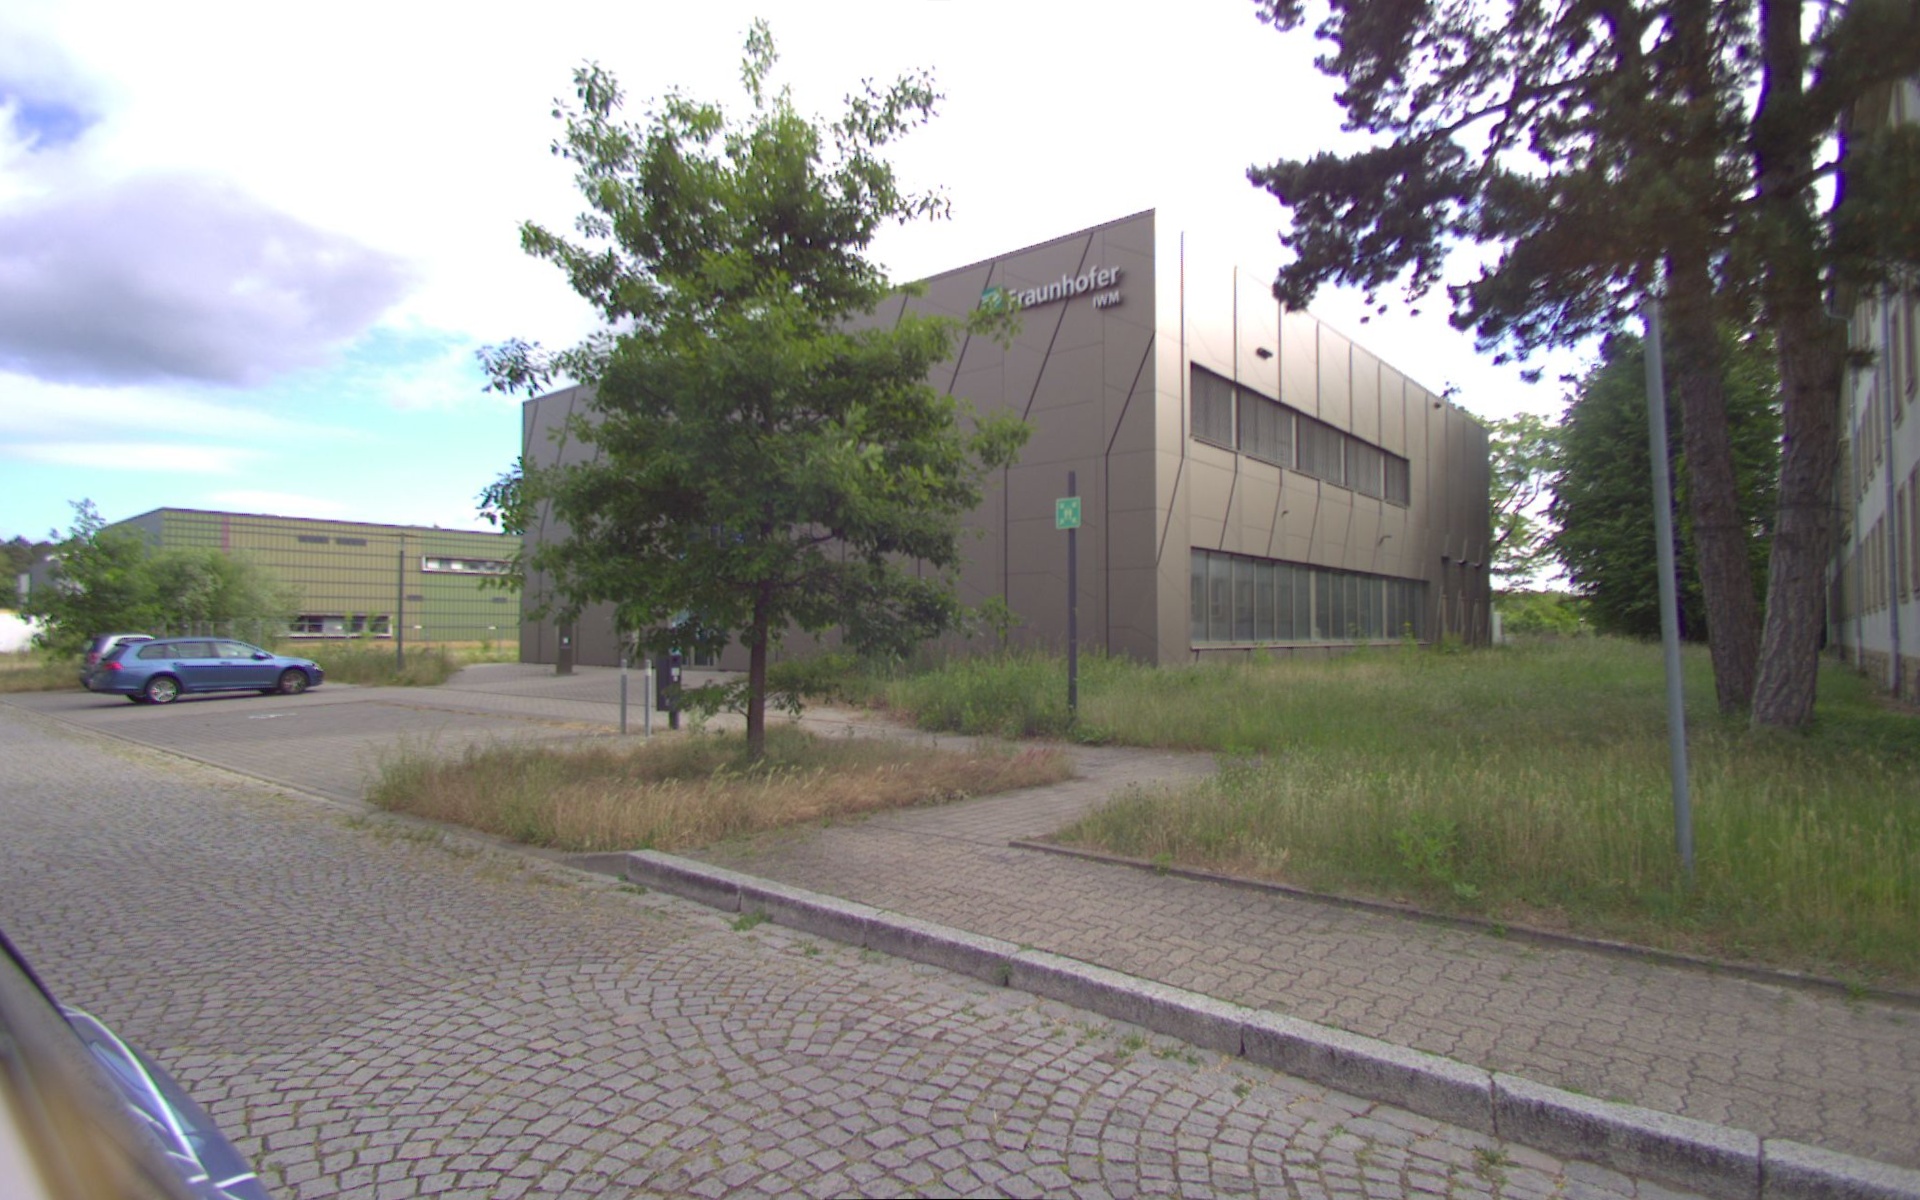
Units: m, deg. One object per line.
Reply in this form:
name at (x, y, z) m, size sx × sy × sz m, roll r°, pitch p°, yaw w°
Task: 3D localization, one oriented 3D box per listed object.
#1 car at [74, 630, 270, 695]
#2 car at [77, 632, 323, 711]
car at (-22.827, 1.753, 29.417) m, size 4.340 × 1.557 × 1.843 m, roll -1°, pitch -1°, yaw -44°
car at (-17.869, 1.601, 23.996) m, size 1.714 × 1.521 × 4.352 m, roll -2°, pitch 0°, yaw 37°
